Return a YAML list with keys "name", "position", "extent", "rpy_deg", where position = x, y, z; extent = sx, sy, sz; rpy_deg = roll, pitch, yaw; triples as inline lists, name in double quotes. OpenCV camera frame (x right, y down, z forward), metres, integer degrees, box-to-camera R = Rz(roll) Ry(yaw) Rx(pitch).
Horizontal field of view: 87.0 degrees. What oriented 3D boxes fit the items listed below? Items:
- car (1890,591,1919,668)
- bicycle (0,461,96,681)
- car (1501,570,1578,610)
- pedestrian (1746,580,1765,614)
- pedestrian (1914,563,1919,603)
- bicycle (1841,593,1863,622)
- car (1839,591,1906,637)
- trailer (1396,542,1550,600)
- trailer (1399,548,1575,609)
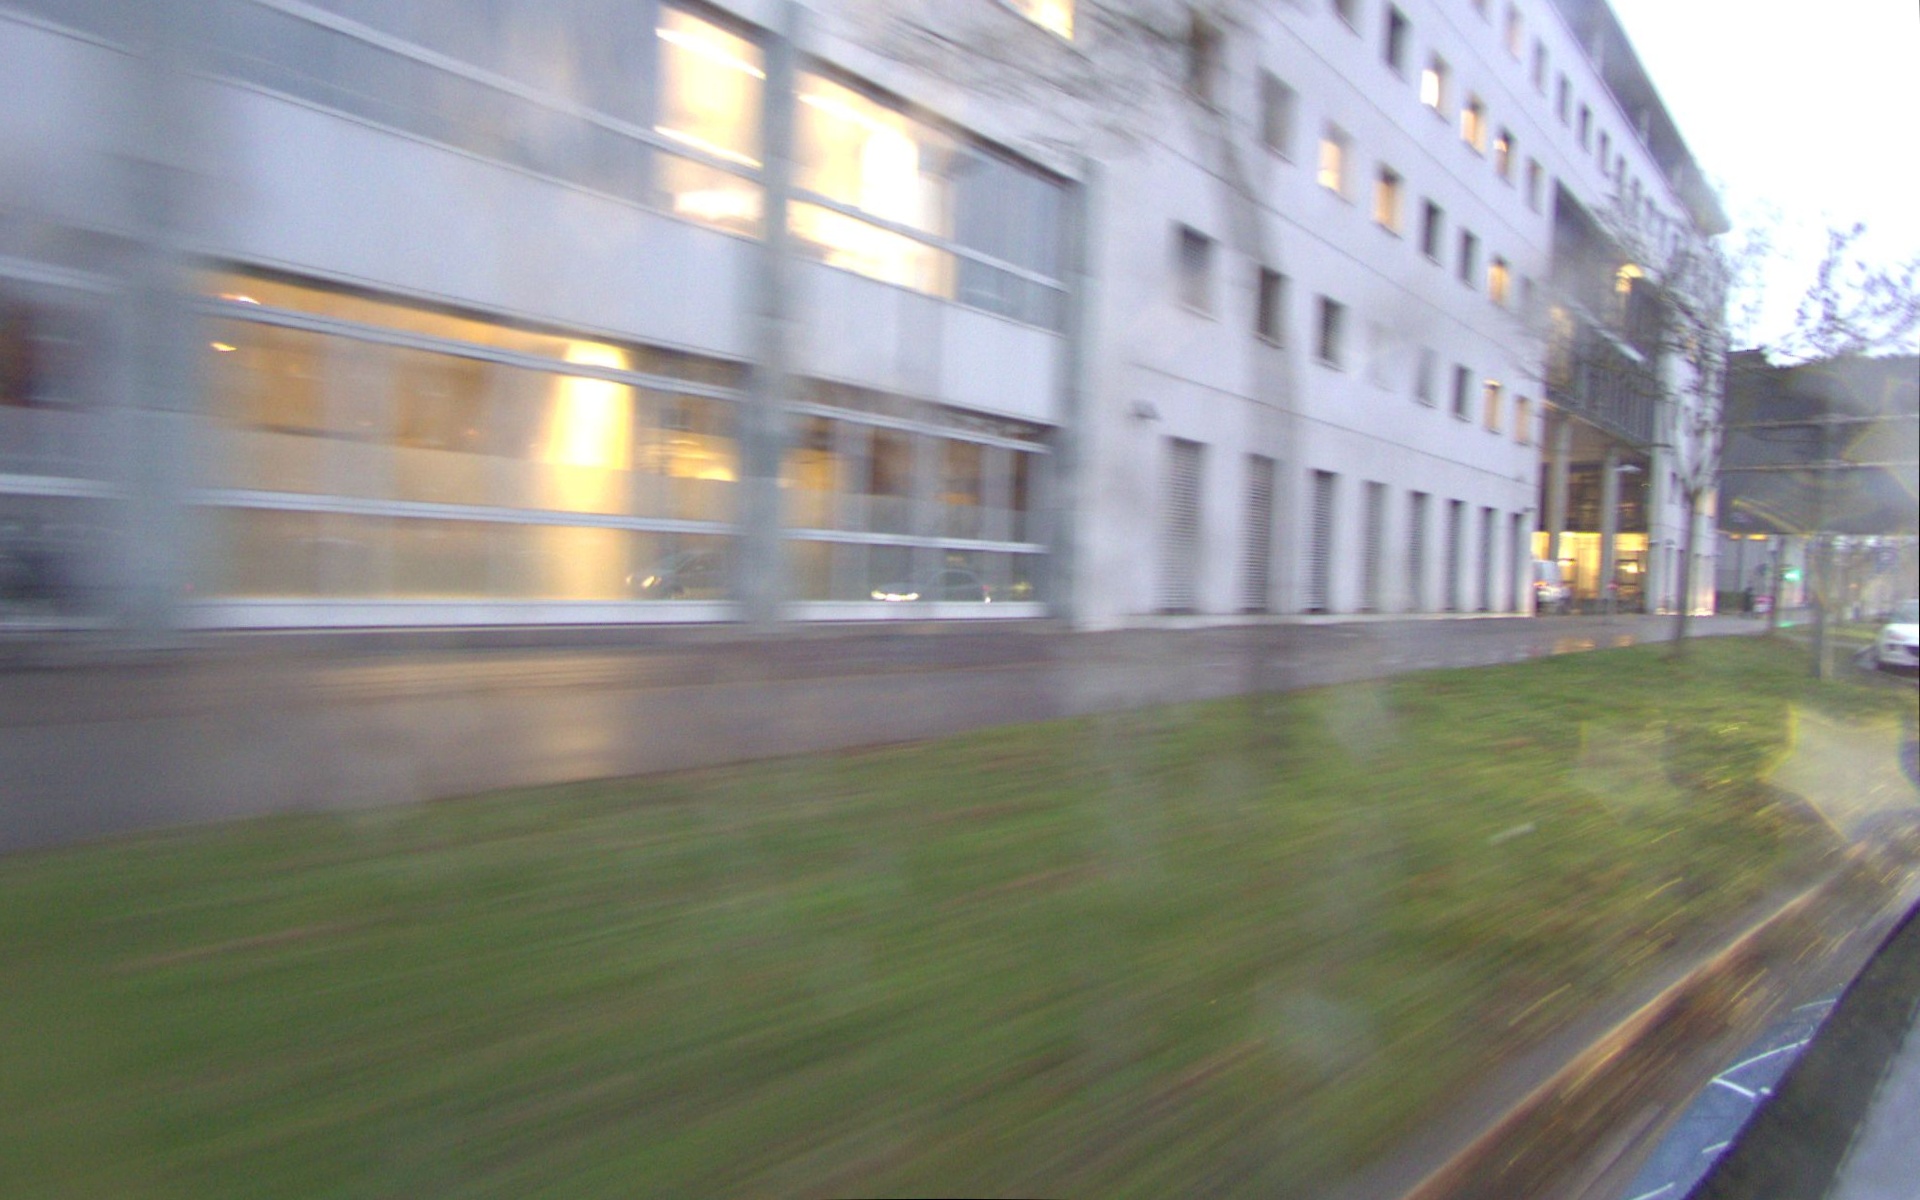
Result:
- name: "car"
  position: [19.509, 0.597, 19.934]
  extent: [1.592, 1.411, 3.431]
  rpy_deg: [5, 3, 44]
- name: "bicycle"
  position: [-6.656, -0.228, 5.838]
  extent: [2.408, 1.288, 0.827]
  rpy_deg: [2, 5, -29]
- name: "car"
  position: [22.491, -0.436, 39.197]
  extent: [1.632, 1.387, 4.462]
  rpy_deg: [5, 5, 42]
- name: "pedestrian"
  position: [42.176, -0.172, 53.649]
  extent: [0.736, 1.757, 0.692]
  rpy_deg: [1, 1, 42]
- name: "pedestrian"
  position: [45.017, -0.773, 47.059]
  extent: [0.771, 1.829, 0.689]
  rpy_deg: [8, 6, 41]
- name: "bicycle"
  position: [37.551, 0.287, 42.601]
  extent: [0.551, 1.128, 2.132]
  rpy_deg: [4, 4, 44]
- name: "car"
  position: [32.000, 0.443, 35.464]
  extent: [1.596, 1.458, 4.162]
  rpy_deg: [1, 2, 44]
- name: "trailer"
  position: [24.732, -1.445, 48.996]
  extent: [6.253, 2.613, 2.177]
  rpy_deg: [4, 2, 41]
- name: "trailer"
  position: [18.537, -0.791, 35.791]
  extent: [2.092, 1.935, 5.079]
  rpy_deg: [2, 1, -39]
